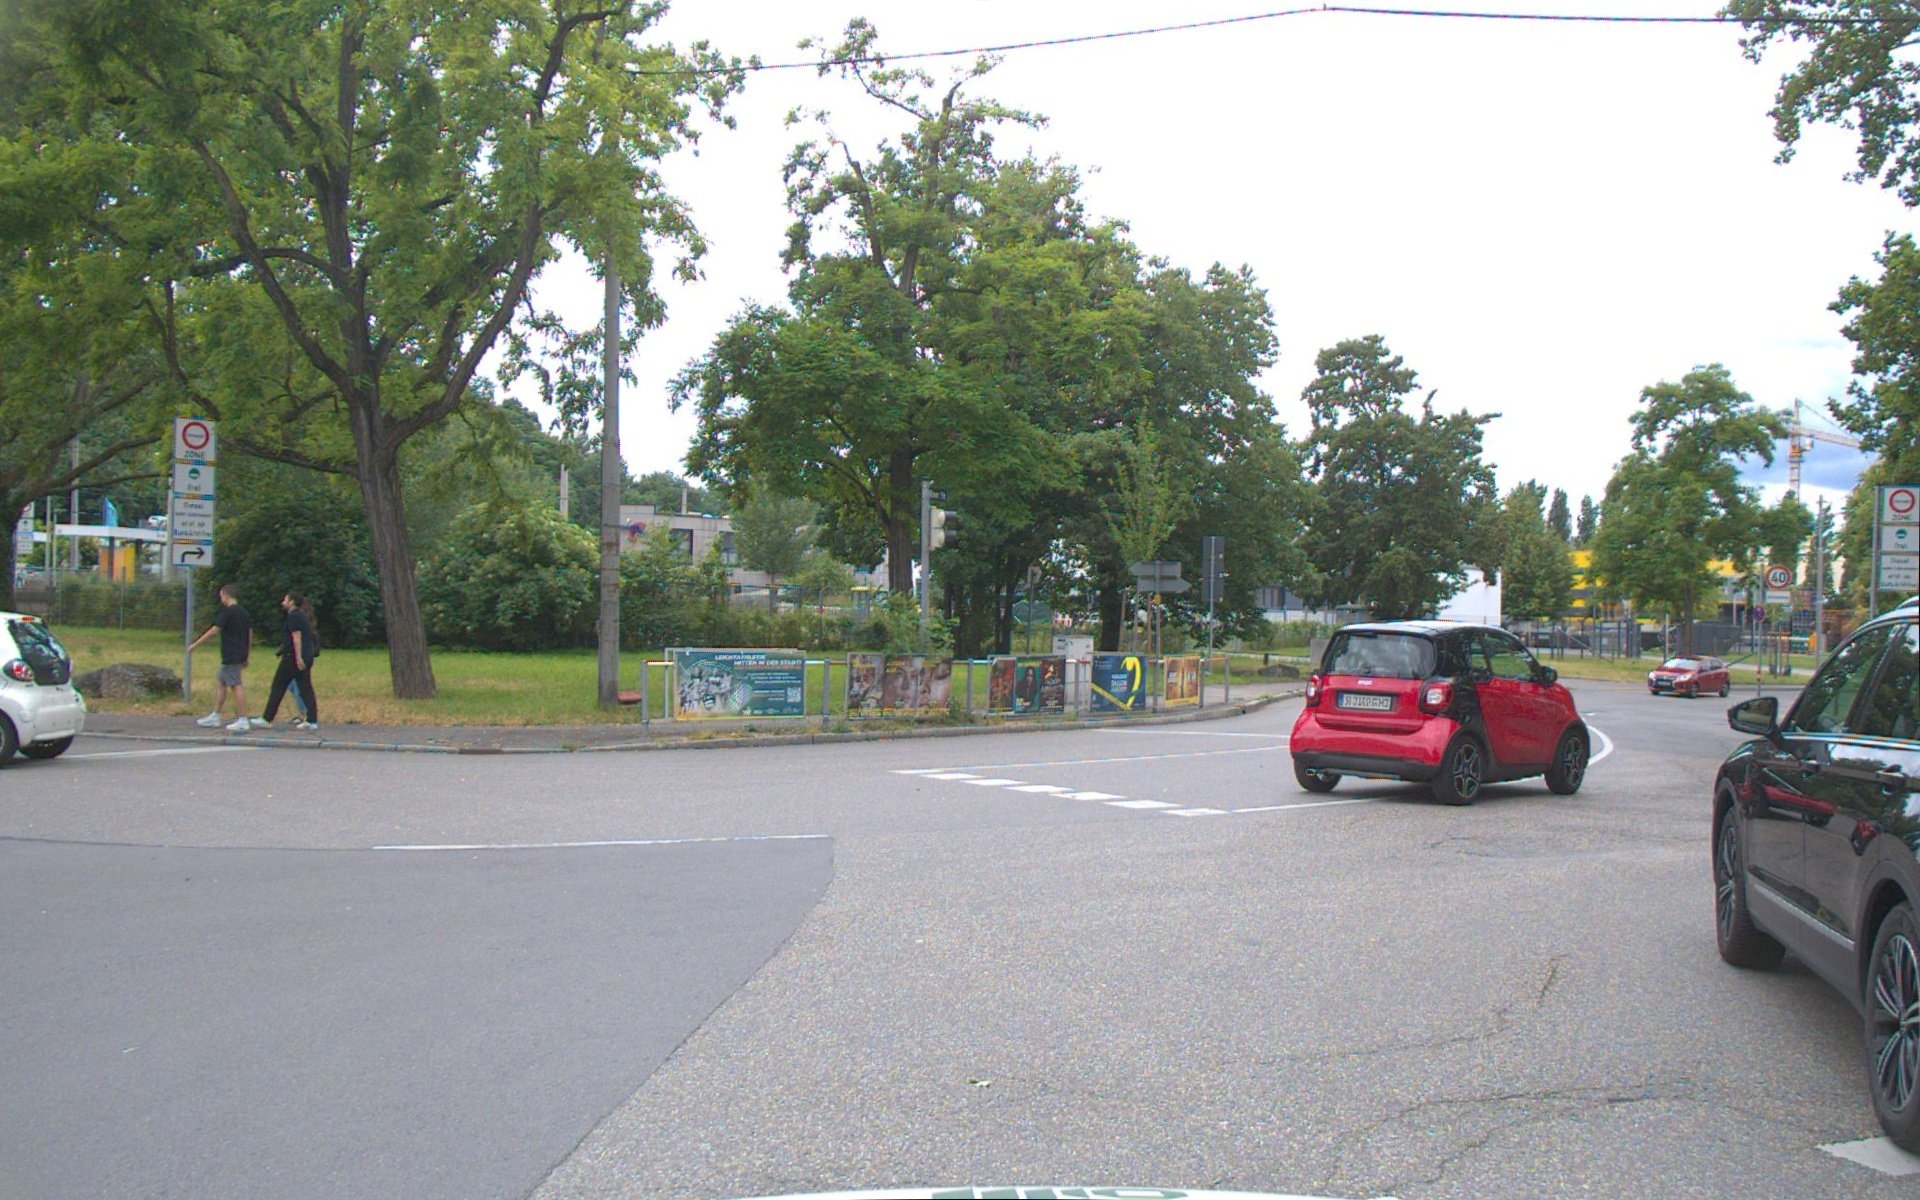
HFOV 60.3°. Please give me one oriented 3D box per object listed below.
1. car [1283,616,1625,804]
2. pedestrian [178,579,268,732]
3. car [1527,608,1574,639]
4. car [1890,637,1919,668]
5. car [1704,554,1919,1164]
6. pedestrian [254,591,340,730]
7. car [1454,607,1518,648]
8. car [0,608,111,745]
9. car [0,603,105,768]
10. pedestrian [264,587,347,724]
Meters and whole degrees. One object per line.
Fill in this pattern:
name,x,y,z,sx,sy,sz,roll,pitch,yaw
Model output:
car,4.545,0.916,15.085,2.994,1.490,1.691,1,0,-42
pedestrian,-9.315,0.683,20.924,0.769,1.890,0.696,1,0,4
car,41.087,1.648,114.948,1.931,2.049,4.202,2,0,36
car,49.783,2.736,86.233,2.006,1.563,3.929,1,0,34
car,3.909,0.741,5.685,1.805,1.664,4.188,2,0,16
pedestrian,-8.519,0.768,21.258,0.769,1.744,0.696,1,0,4
car,27.653,1.460,86.816,1.931,2.049,4.202,2,0,36
car,-11.801,0.813,18.960,3.346,1.482,1.645,1,-1,12
car,-10.105,0.754,15.469,3.356,1.457,1.641,1,0,-9
pedestrian,-8.705,0.725,22.009,0.769,1.770,0.696,1,0,4
